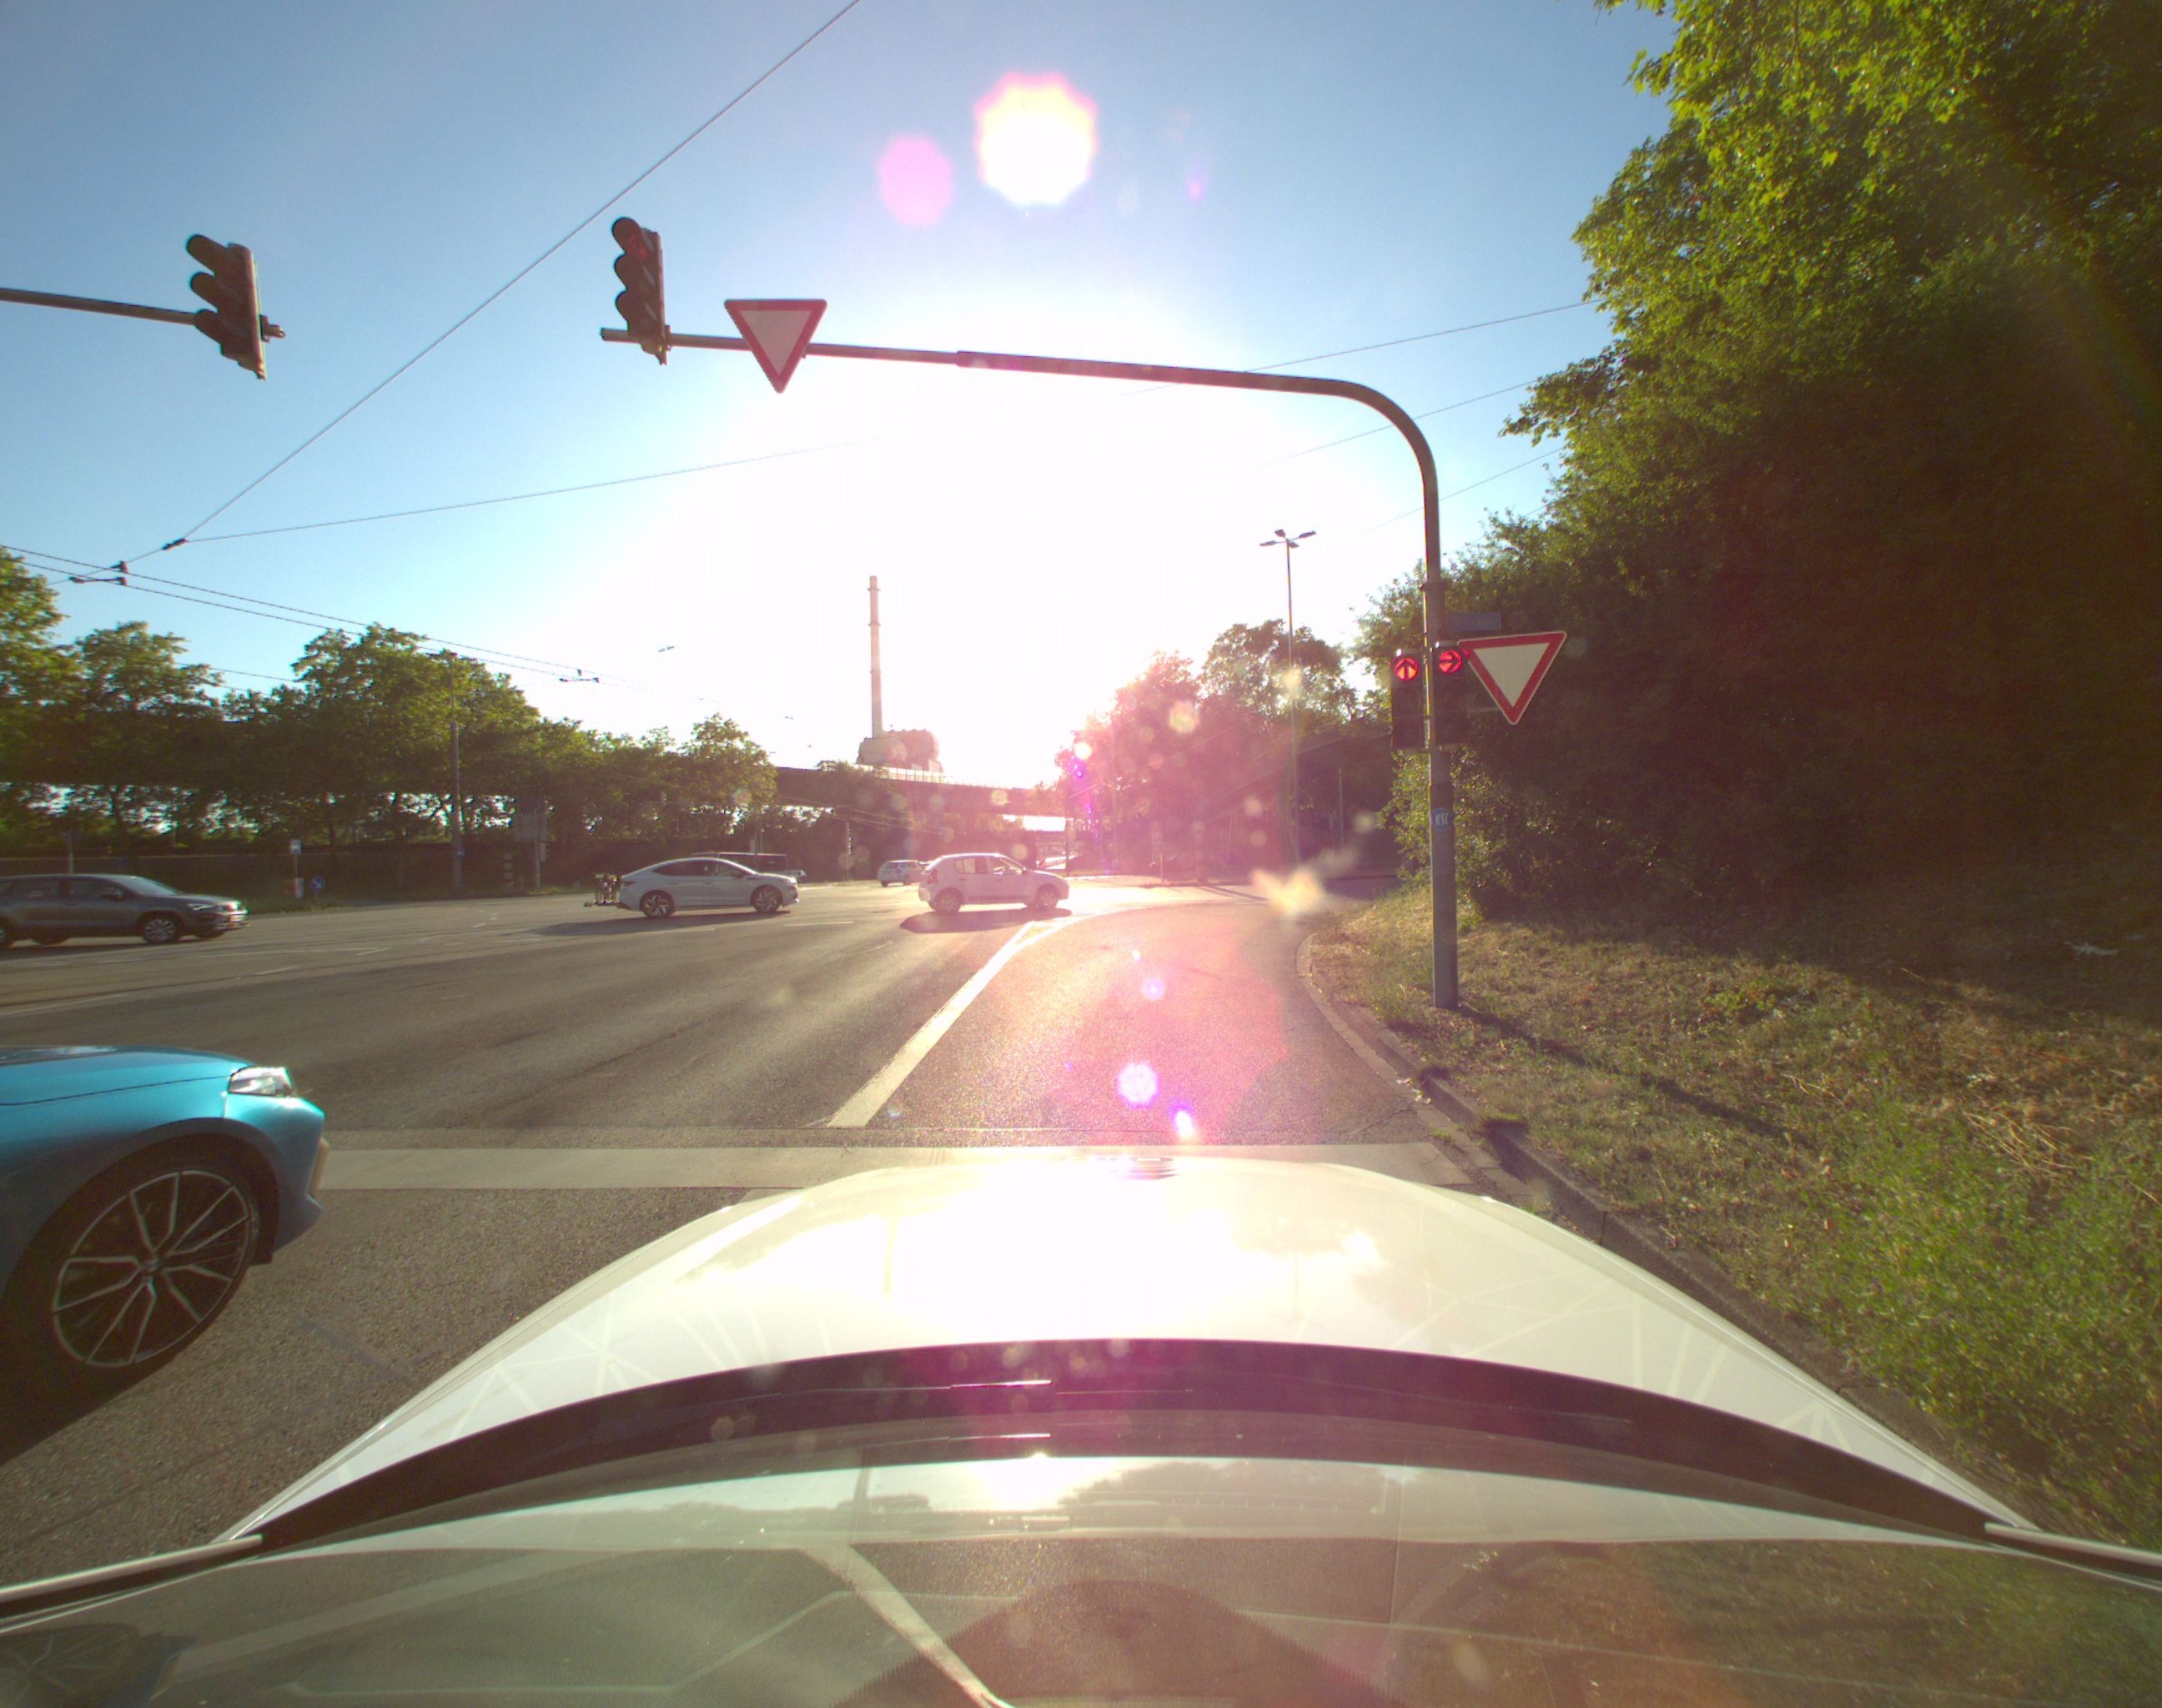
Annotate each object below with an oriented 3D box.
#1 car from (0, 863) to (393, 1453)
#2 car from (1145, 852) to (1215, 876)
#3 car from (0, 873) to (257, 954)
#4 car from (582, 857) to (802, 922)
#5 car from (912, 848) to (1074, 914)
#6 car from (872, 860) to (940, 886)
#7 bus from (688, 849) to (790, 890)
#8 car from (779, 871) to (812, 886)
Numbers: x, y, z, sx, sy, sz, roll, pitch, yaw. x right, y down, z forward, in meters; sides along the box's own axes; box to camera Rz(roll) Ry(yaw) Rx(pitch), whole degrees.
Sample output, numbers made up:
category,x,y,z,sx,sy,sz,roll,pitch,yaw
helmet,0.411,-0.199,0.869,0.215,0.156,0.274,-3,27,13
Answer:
category,x,y,z,sx,sy,sz,roll,pitch,yaw
car,-3.567,0.797,1.103,1.709,1.466,4.205,-2,0,-1
car,6.948,0.673,57.047,4.585,1.575,1.685,-1,0,-16
car,-21.726,1.275,18.235,4.257,1.575,1.679,-1,0,-26
car,-10.656,0.929,22.811,5.366,1.575,1.729,-1,0,-19
car,-2.352,0.677,21.706,4.001,1.575,1.682,-1,0,-20
car,-10.246,1.082,47.973,1.650,1.405,4.221,-1,0,25
bus,-29.407,1.390,70.950,2.532,3.130,12.931,-2,-2,4
car,-28.567,2.462,81.606,1.600,1.419,4.012,-1,0,3
